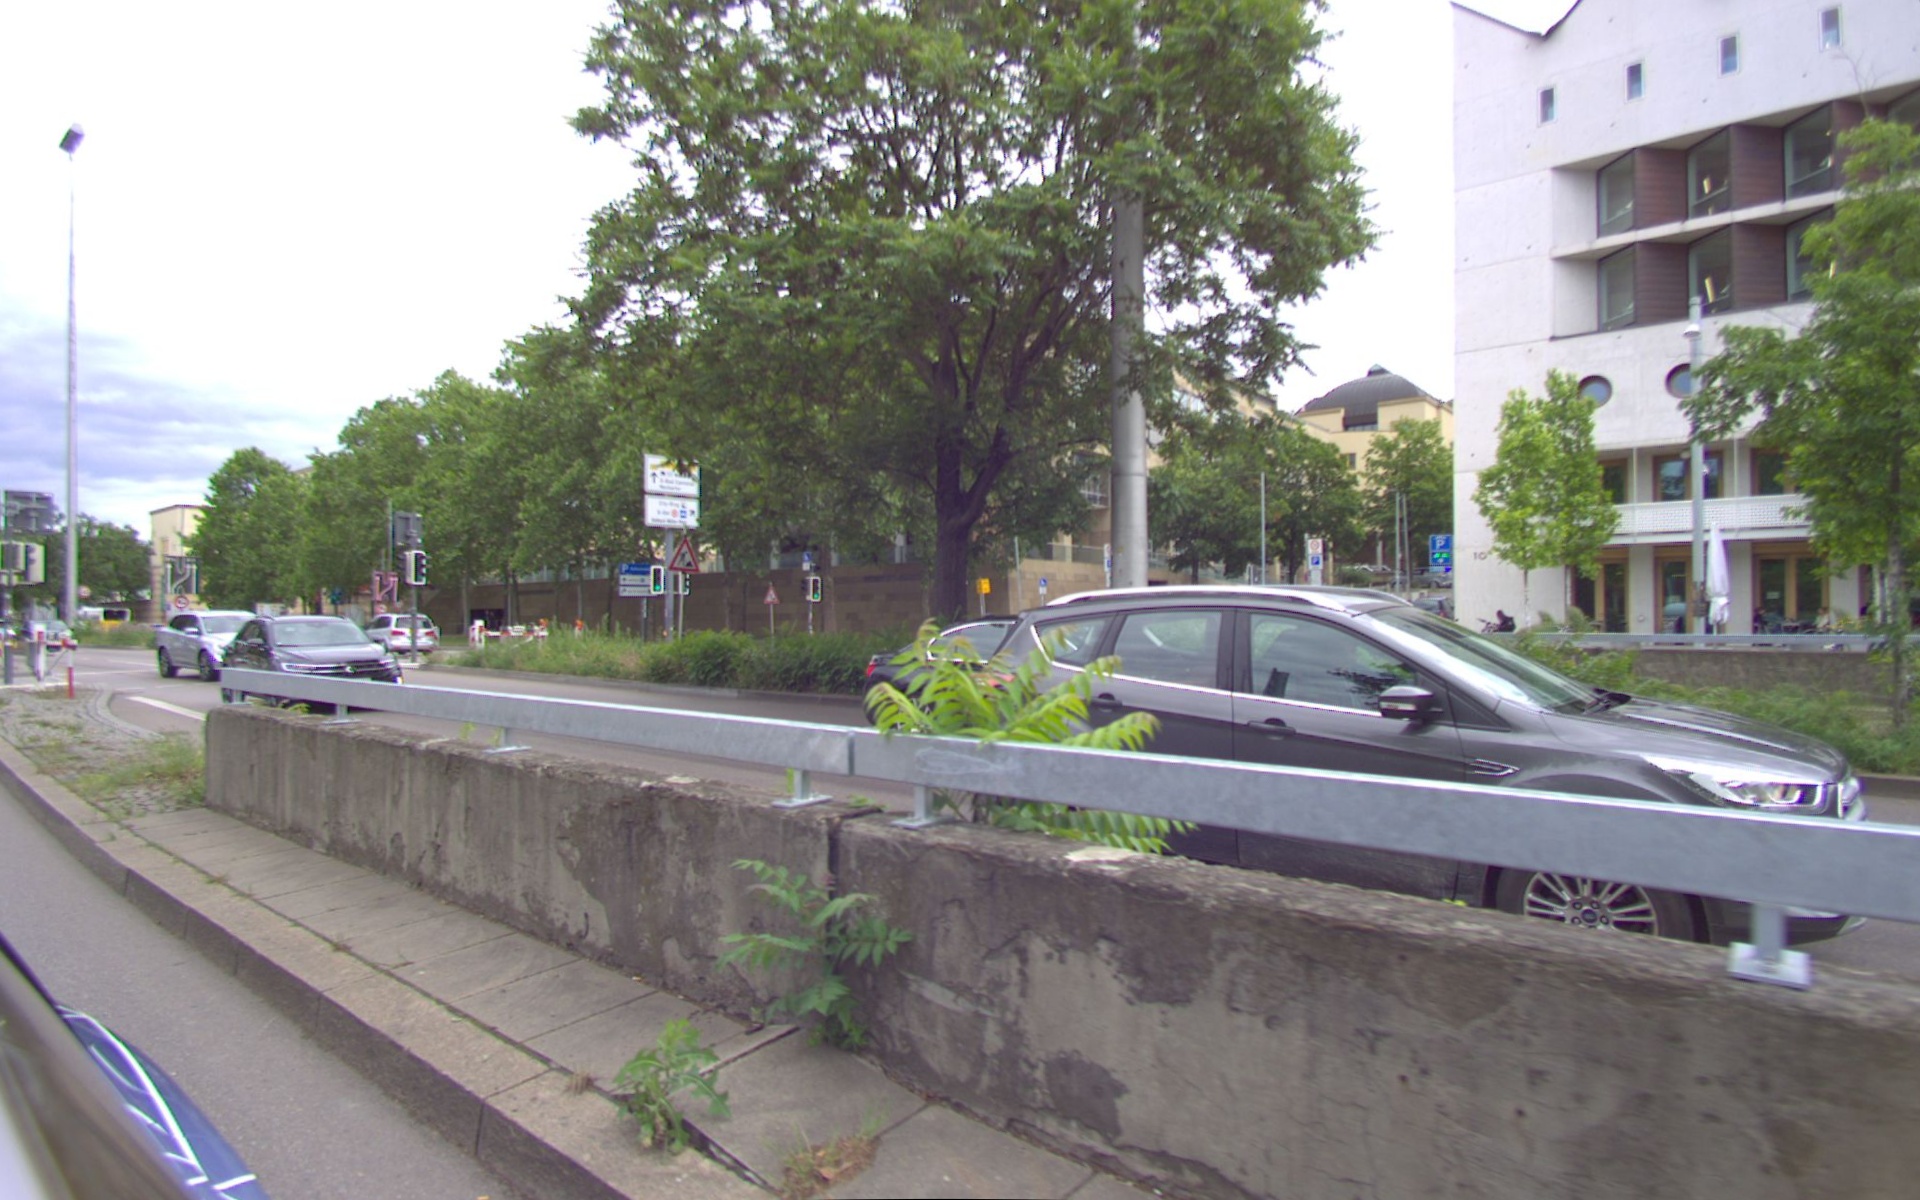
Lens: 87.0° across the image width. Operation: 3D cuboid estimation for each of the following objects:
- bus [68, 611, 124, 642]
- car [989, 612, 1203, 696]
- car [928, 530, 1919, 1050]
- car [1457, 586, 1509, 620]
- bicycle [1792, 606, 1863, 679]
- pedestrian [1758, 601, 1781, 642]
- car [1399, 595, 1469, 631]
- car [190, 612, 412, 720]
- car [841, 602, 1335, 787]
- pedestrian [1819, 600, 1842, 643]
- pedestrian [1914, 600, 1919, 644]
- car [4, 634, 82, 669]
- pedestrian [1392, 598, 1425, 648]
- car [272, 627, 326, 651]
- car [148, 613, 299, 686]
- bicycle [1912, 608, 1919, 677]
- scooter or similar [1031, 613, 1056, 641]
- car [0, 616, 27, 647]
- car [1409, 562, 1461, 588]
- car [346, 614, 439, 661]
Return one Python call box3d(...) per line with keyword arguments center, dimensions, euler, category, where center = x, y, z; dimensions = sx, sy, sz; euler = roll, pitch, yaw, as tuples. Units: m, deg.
box3d(center=(-94.569, 2.889, 110.672), dimensions=(10.439, 3.330, 2.883), euler=(-1, -1, 40), category="bus")
box3d(center=(2.721, 1.018, 20.646), dimensions=(3.995, 1.472, 1.739), euler=(-1, 1, 39), category="car")
box3d(center=(2.186, 0.675, 5.464), dimensions=(4.655, 1.728, 1.874), euler=(-2, -1, 41), category="car")
box3d(center=(32.185, 0.173, 62.234), dimensions=(1.999, 1.863, 3.947), euler=(-1, 3, 41), category="car")
box3d(center=(21.722, 1.030, 25.422), dimensions=(1.181, 1.697, 3.577), euler=(-2, -2, 39), category="bicycle")
box3d(center=(26.414, 0.696, 33.030), dimensions=(0.565, 1.337, 0.513), euler=(0, -1, 41), category="pedestrian")
box3d(center=(20.307, 0.532, 43.246), dimensions=(1.750, 1.285, 3.947), euler=(-1, 3, 40), category="car")
box3d(center=(-10.979, 0.999, 16.777), dimensions=(4.145, 1.527, 1.747), euler=(-1, 0, 37), category="car")
box3d(center=(1.125, 0.816, 10.503), dimensions=(4.806, 1.494, 1.973), euler=(-2, -1, 41), category="car")
box3d(center=(27.541, 0.687, 32.021), dimensions=(0.565, 1.337, 0.513), euler=(0, -1, 41), category="pedestrian")
box3d(center=(29.287, 0.665, 30.648), dimensions=(0.565, 1.337, 0.513), euler=(0, -1, 41), category="pedestrian")
box3d(center=(-42.149, 2.330, 46.480), dimensions=(4.804, 1.494, 1.974), euler=(-2, -1, 39), category="car")
box3d(center=(14.224, 0.731, 32.102), dimensions=(0.589, 1.569, 0.883), euler=(0, -1, -2), category="pedestrian")
box3d(center=(-39.641, 2.320, 60.707), dimensions=(3.998, 1.382, 1.707), euler=(-2, -2, 41), category="car")
box3d(center=(-18.329, 1.138, 25.113), dimensions=(4.735, 1.629, 1.973), euler=(-1, 0, 40), category="car")
box3d(center=(23.728, 1.028, 24.121), dimensions=(1.181, 1.697, 3.577), euler=(-2, -2, 39), category="bicycle")
box3d(center=(4.171, 1.339, 50.561), dimensions=(0.537, 1.351, 1.400), euler=(-2, -1, 40), category="scooter or similar")
box3d(center=(-54.031, 1.800, 56.785), dimensions=(3.997, 1.658, 1.973), euler=(-2, -1, 40), category="car")
box3d(center=(40.517, -2.131, 86.360), dimensions=(3.683, 2.029, 1.567), euler=(-2, -1, 42), category="car")
box3d(center=(-22.115, 1.425, 39.405), dimensions=(3.995, 1.669, 1.739), euler=(-1, 1, 39), category="car")
